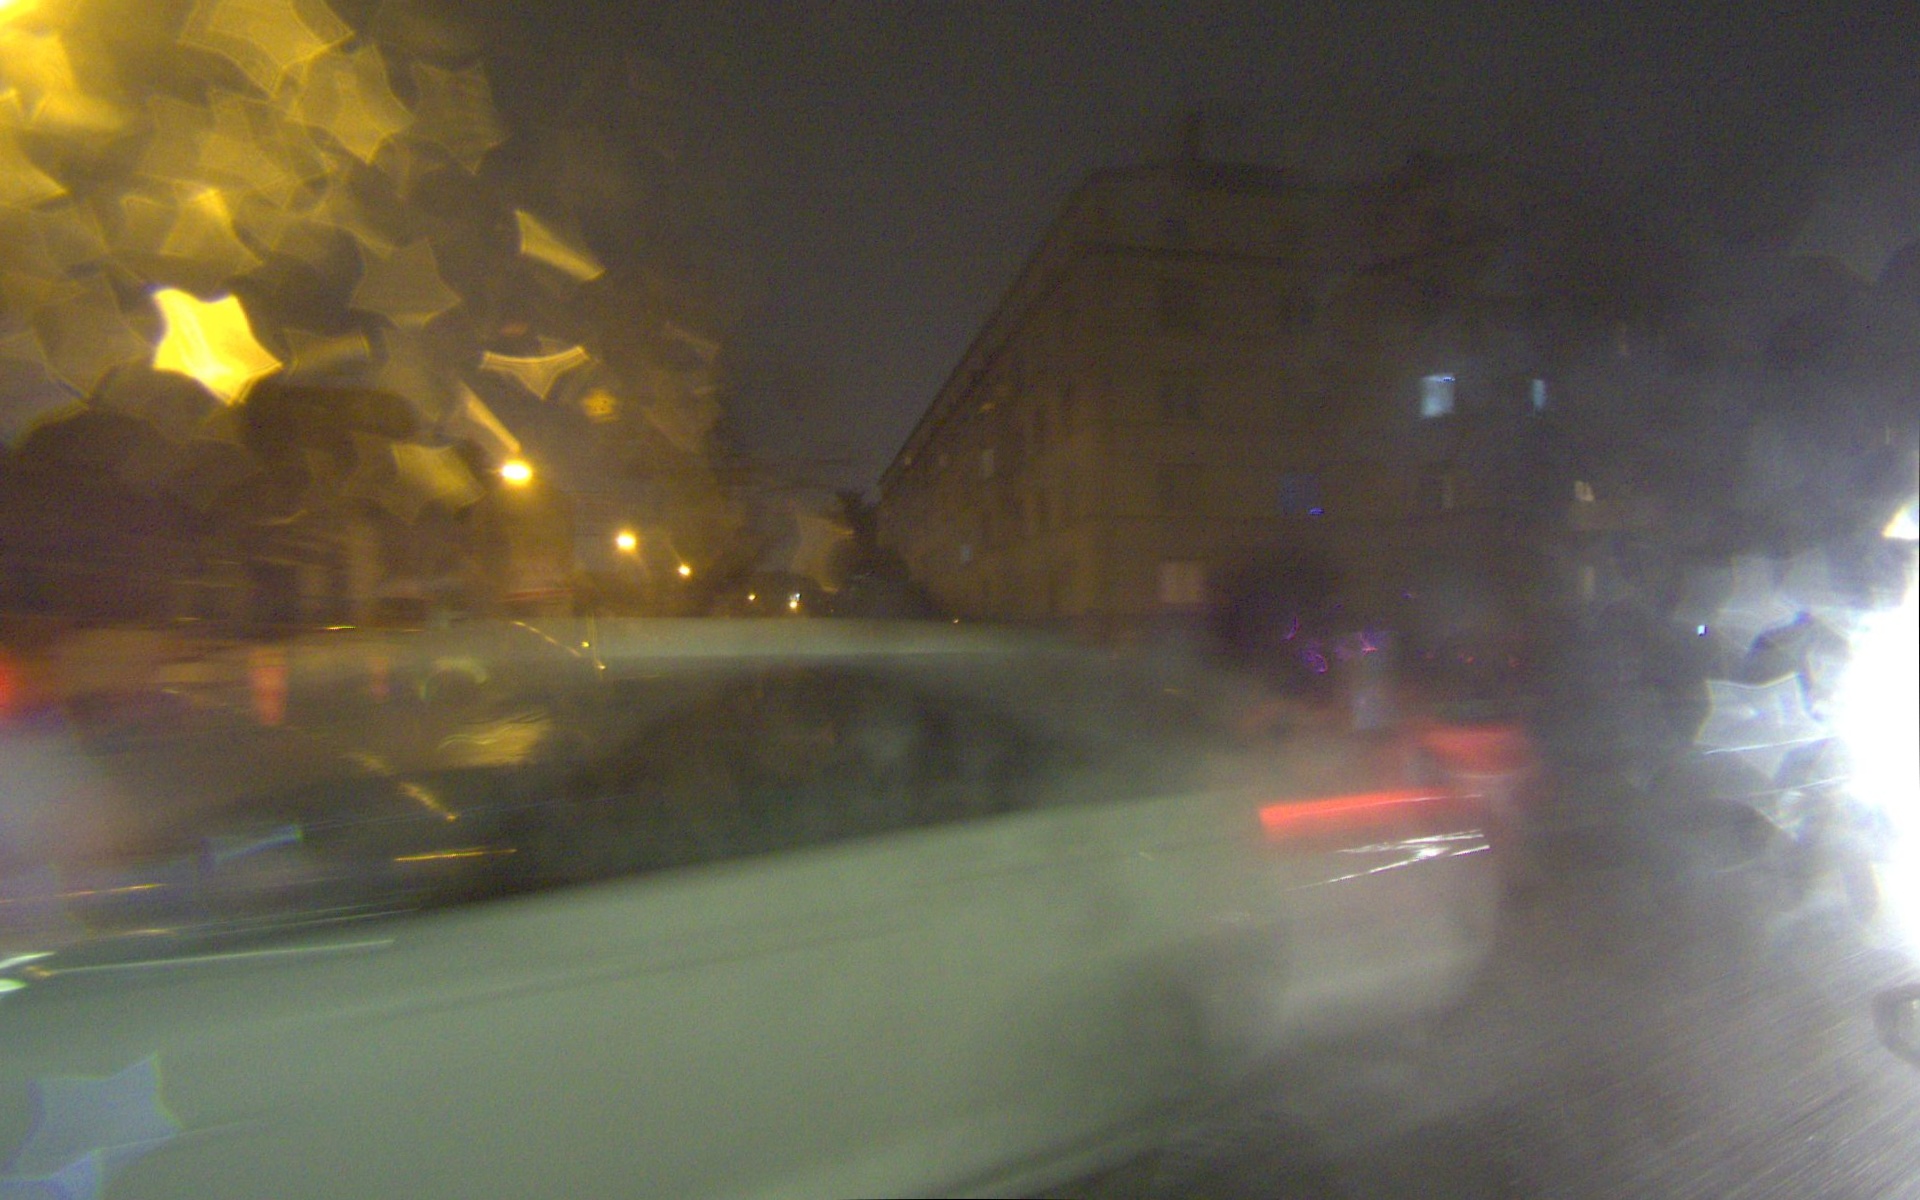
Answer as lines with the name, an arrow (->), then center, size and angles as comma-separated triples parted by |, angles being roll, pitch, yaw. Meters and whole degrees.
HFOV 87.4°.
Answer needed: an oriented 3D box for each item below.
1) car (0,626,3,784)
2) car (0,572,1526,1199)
car -> -8.304, 0.912, 5.870 | 1.968, 1.640, 4.690 | -1, -3, -17
car -> -0.728, 0.727, 2.616 | 4.523, 1.480, 1.788 | 1, -1, -30
